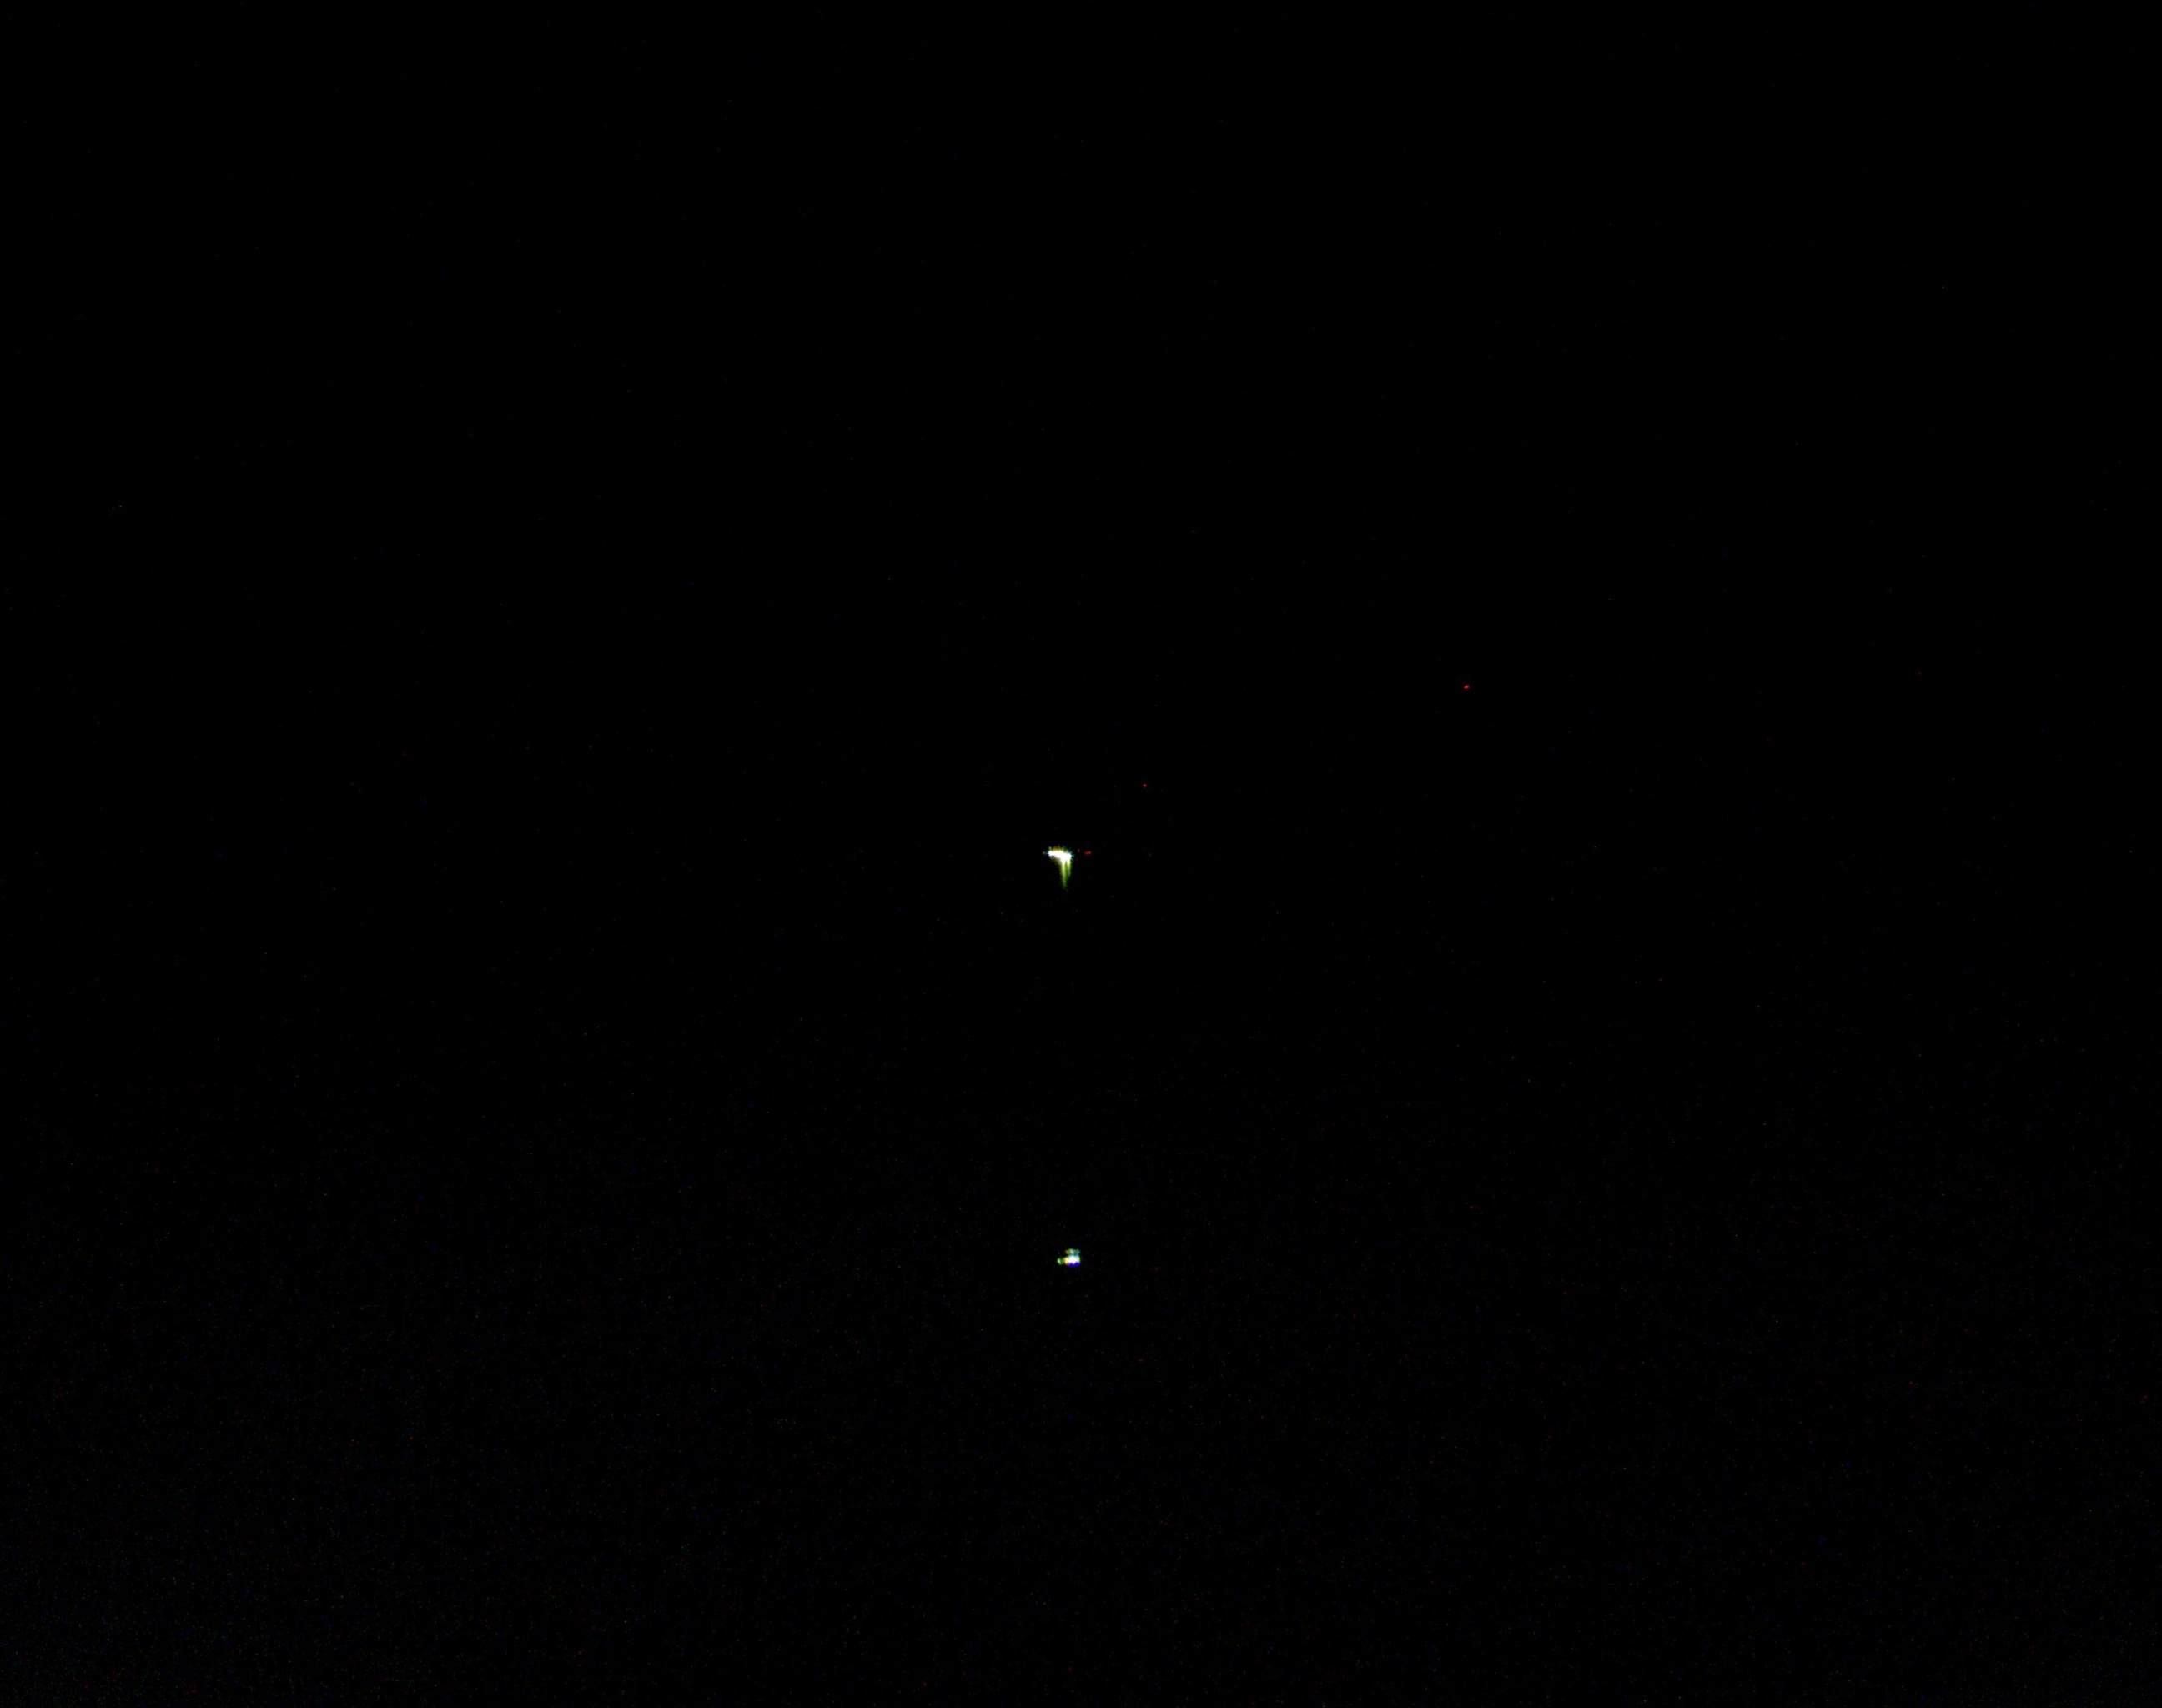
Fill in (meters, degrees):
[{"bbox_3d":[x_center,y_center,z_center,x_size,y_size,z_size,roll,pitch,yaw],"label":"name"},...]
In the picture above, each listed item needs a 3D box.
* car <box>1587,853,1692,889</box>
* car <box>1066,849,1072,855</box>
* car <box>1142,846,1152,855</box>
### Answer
[{"bbox_3d":[22.944,0.646,31.373,1.561,1.281,3.791,-2,1,1],"label":"car"},{"bbox_3d":[-3.599,-0.548,228.716,1.860,1.609,3.998,-1,1,-2],"label":"car"},{"bbox_3d":[19.585,-0.988,225.225,2.397,2.438,6.668,-2,1,-1],"label":"car"}]
